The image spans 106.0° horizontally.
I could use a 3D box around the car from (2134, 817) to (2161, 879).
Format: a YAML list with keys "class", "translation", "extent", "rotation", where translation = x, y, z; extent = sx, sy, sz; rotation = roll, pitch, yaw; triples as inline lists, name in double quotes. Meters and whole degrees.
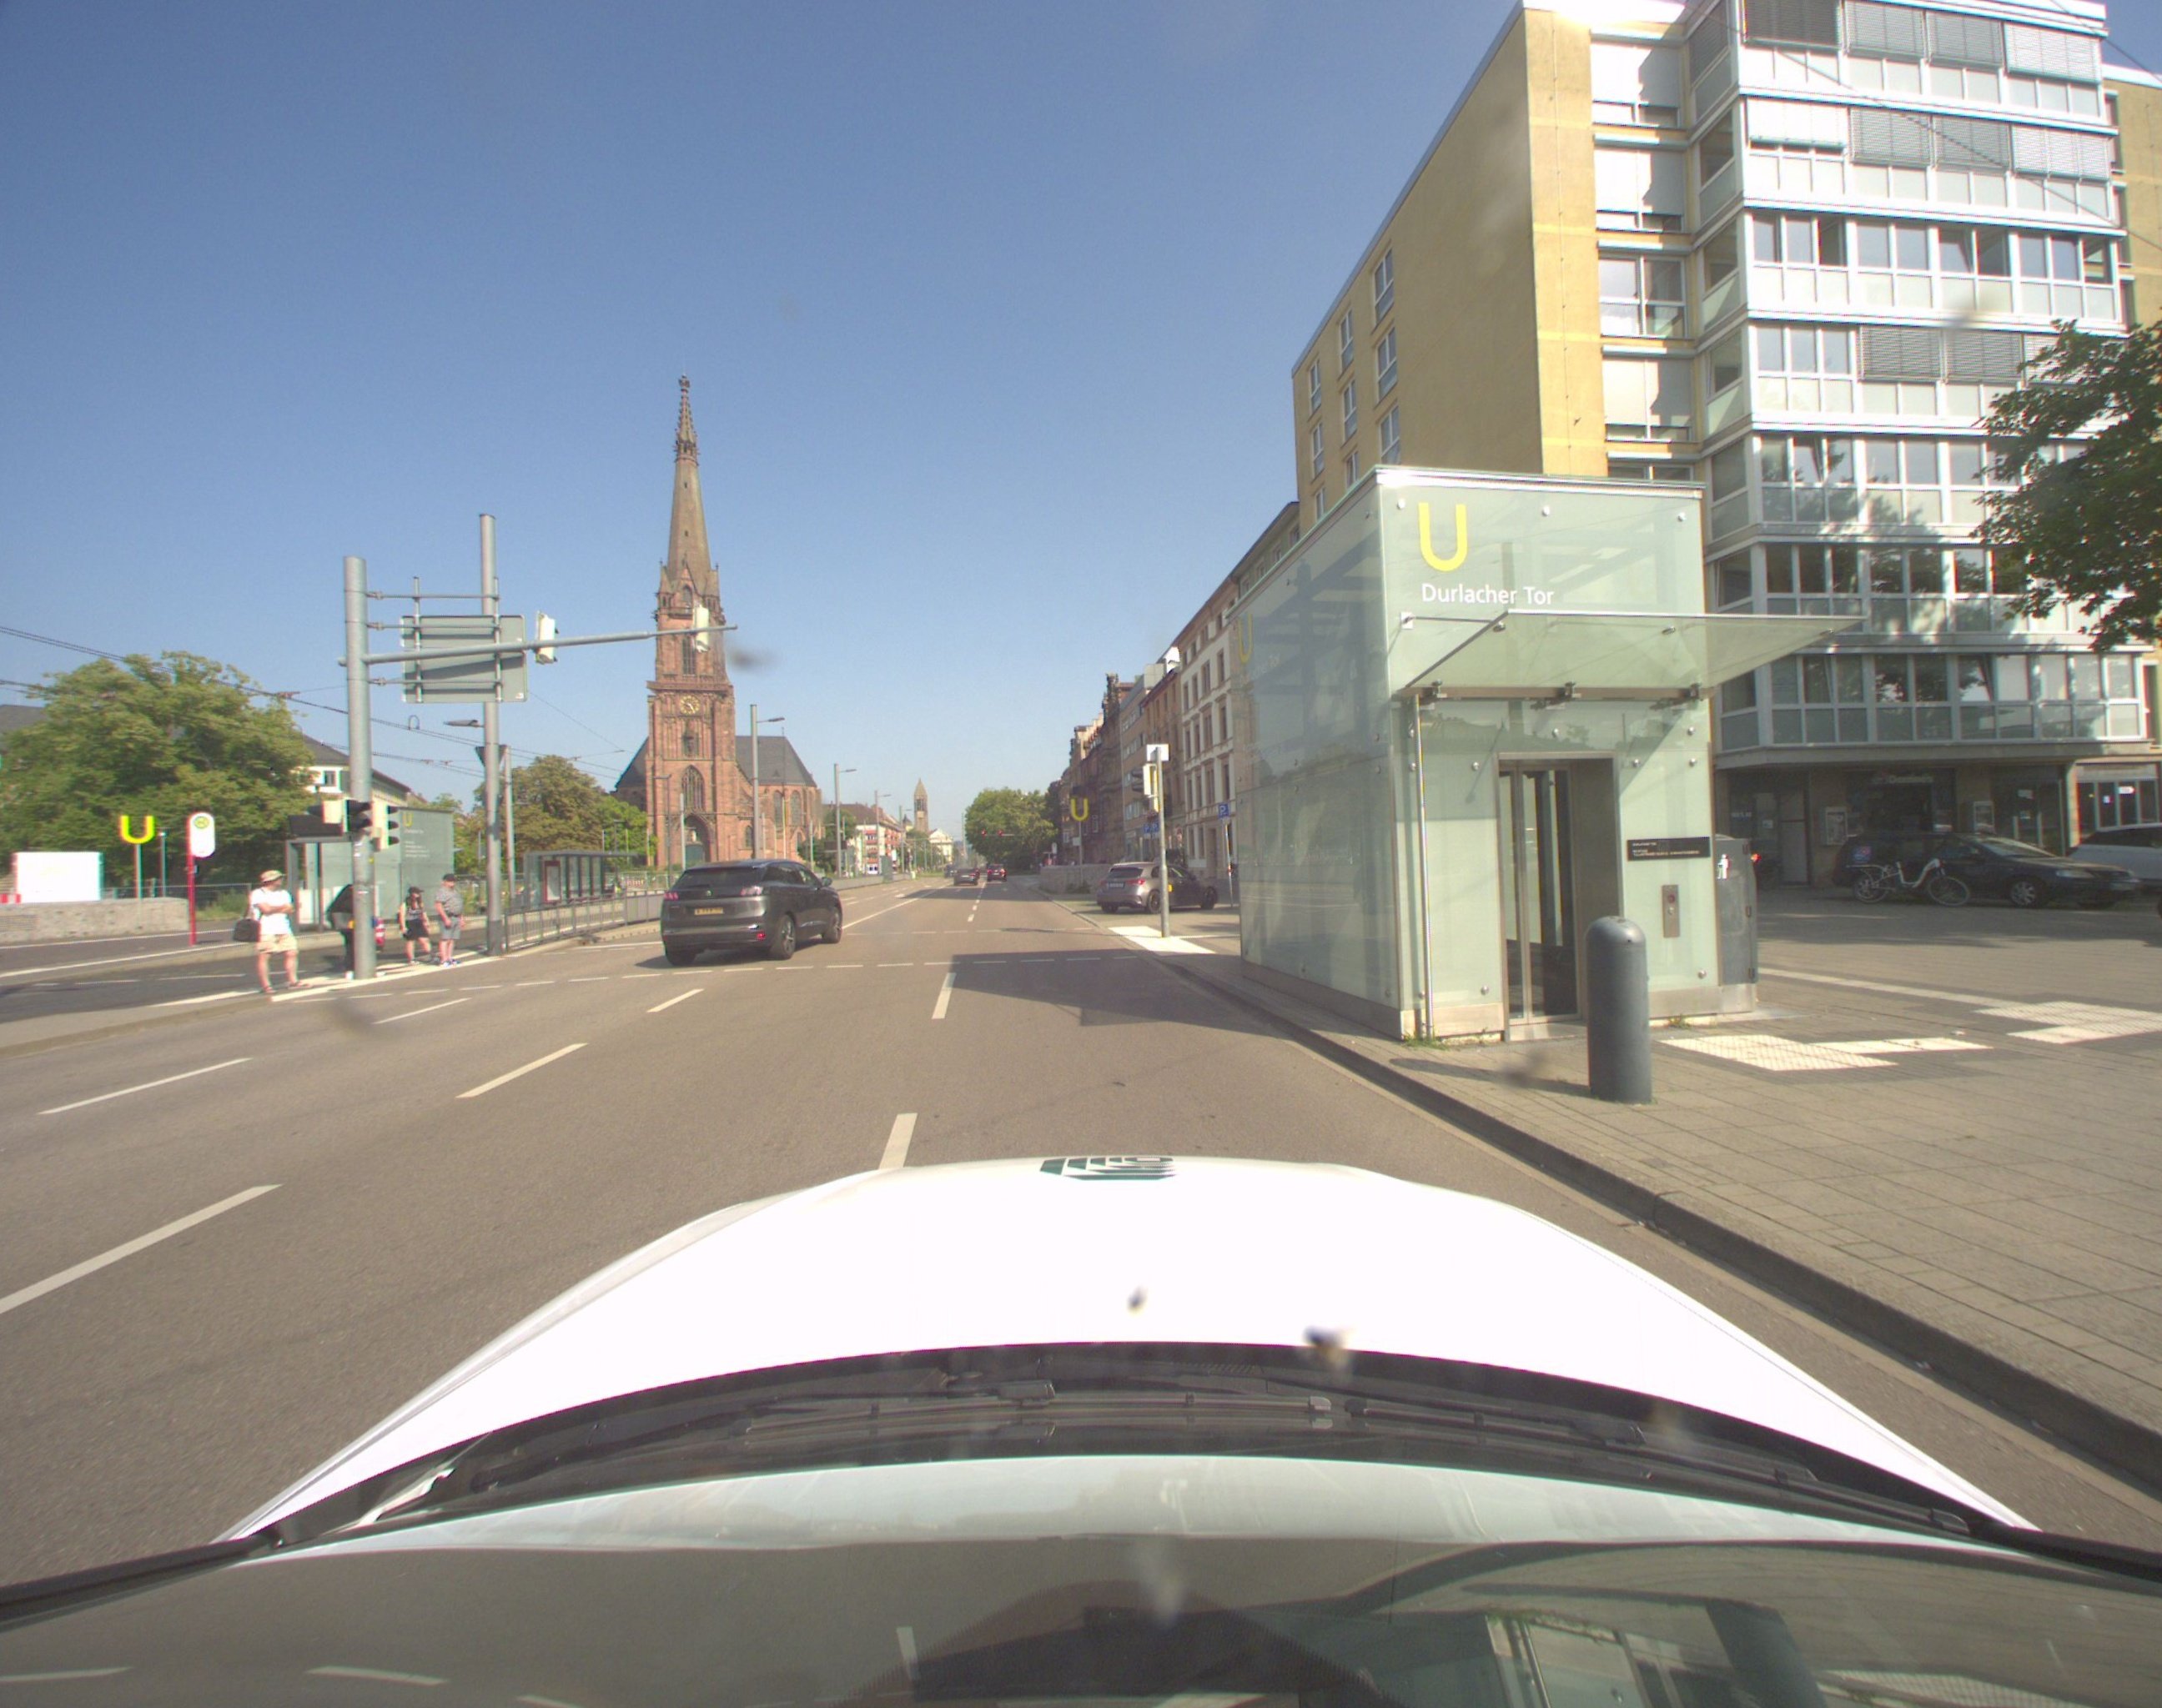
- class: "car"
  translation: [27.787, -0.201, 18.680]
  extent: [1.991, 1.507, 3.992]
  rotation: [-2, 0, -5]

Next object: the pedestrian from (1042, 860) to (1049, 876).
- class: "pedestrian"
  translation: [-3.868, 1.489, 88.727]
  extent: [0.565, 1.729, 0.743]
  rotation: [-2, -1, -10]

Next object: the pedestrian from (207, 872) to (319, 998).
- class: "pedestrian"
  translation: [-12.389, 1.200, 12.353]
  extent: [0.830, 1.788, 0.729]
  rotation: [-5, -1, 1]

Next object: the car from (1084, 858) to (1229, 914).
- class: "car"
  translation: [2.313, 0.905, 24.011]
  extent: [1.825, 1.423, 4.435]
  rotation: [-3, -1, 44]

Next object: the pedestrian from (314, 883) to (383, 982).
- class: "pedestrian"
  translation: [-12.405, 1.313, 13.802]
  extent: [0.632, 1.597, 0.466]
  rotation: [-5, -1, -9]

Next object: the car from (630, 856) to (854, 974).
- class: "car"
  translation: [-5.522, 0.893, 13.980]
  extent: [1.988, 1.621, 4.355]
  rotation: [-2, 0, -1]

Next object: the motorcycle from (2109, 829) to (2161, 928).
- class: "motorcycle"
  translation: [12.760, 0.273, 8.768]
  extent: [0.699, 1.147, 2.307]
  rotation: [-2, 0, 9]

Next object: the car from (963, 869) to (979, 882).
- class: "car"
  translation: [-13.281, 2.608, 98.490]
  extent: [1.862, 1.424, 4.347]
  rotation: [-1, 0, -6]

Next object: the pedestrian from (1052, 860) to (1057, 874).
- class: "pedestrian"
  translation: [-3.315, 1.612, 102.509]
  extent: [0.481, 1.702, 0.701]
  rotation: [-2, -1, -10]

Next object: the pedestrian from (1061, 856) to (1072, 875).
- class: "pedestrian"
  translation: [-1.388, 1.107, 79.359]
  extent: [0.925, 1.831, 0.798]
  rotation: [-2, -1, -10]

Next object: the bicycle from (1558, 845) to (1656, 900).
- class: "bicycle"
  translation: [12.822, 0.444, 19.884]
  extent: [2.015, 1.206, 0.669]
  rotation: [-3, 0, -7]

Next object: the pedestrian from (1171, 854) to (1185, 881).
- class: "pedestrian"
  translation: [5.880, 0.825, 49.274]
  extent: [0.608, 1.629, 0.735]
  rotation: [-2, -1, -6]

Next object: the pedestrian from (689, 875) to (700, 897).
- class: "pedestrian"
  translation: [-30.887, 2.572, 65.114]
  extent: [0.517, 1.700, 0.663]
  rotation: [-2, -1, -8]

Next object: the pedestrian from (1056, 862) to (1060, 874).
- class: "pedestrian"
  translation: [-2.412, 1.490, 85.718]
  extent: [0.275, 1.274, 0.446]
  rotation: [-2, -1, -13]

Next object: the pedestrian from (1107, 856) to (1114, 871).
- class: "pedestrian"
  translation: [3.221, 1.059, 90.359]
  extent: [0.603, 1.654, 0.585]
  rotation: [-2, -1, -10]

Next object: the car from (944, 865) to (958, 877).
- class: "car"
  translation: [-18.080, 2.387, 113.725]
  extent: [1.739, 1.526, 3.863]
  rotation: [-2, 0, -7]

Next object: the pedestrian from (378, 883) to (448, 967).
- class: "pedestrian"
  translation: [-13.185, 1.388, 16.095]
  extent: [0.807, 1.548, 0.547]
  rotation: [-5, -1, -6]

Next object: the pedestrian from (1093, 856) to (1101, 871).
- class: "pedestrian"
  translation: [1.656, 0.995, 85.001]
  extent: [0.719, 1.610, 0.854]
  rotation: [-2, -1, -6]

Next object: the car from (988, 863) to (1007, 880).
- class: "car"
  translation: [-8.304, 1.763, 81.173]
  extent: [1.829, 1.621, 4.347]
  rotation: [-1, -1, -6]

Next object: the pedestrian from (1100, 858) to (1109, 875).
- class: "pedestrian"
  translation: [2.459, 1.292, 85.093]
  extent: [0.719, 1.787, 0.854]
  rotation: [-2, -1, -6]

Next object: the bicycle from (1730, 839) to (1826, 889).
- class: "bicycle"
  translation: [17.887, 0.256, 20.915]
  extent: [2.015, 1.184, 0.669]
  rotation: [-3, 0, -7]

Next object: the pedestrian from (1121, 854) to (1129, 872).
- class: "pedestrian"
  translation: [4.344, 0.887, 80.841]
  extent: [0.603, 1.831, 0.740]
  rotation: [-2, -1, -10]

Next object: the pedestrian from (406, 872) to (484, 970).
- class: "pedestrian"
  translation: [-11.750, 1.213, 15.063]
  extent: [0.813, 1.692, 0.650]
  rotation: [-5, -1, -7]

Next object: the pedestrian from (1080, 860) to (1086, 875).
- class: "pedestrian"
  translation: [0.262, 1.647, 100.592]
  extent: [0.616, 1.804, 1.069]
  rotation: [-2, -1, -5]

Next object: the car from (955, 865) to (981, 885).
- class: "car"
  translation: [-8.869, 1.615, 64.055]
  extent: [1.862, 1.424, 4.347]
  rotation: [-1, 0, -6]

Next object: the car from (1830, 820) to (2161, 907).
- class: "car"
  translation: [17.776, 0.184, 16.195]
  extent: [1.654, 1.441, 4.186]
  rotation: [-2, 0, -5]

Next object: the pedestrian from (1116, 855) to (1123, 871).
- class: "pedestrian"
  translation: [4.103, 0.945, 86.975]
  extent: [0.603, 1.731, 0.509]
  rotation: [-2, -1, -10]

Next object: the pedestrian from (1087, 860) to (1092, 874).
- class: "pedestrian"
  translation: [1.072, 1.615, 100.649]
  extent: [0.485, 1.610, 0.811]
  rotation: [-2, -1, -6]

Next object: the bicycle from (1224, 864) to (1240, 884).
- class: "bicycle"
  translation: [8.577, 1.125, 46.438]
  extent: [0.383, 1.134, 1.716]
  rotation: [-2, -1, -6]

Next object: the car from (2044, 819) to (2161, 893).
- class: "car"
  translation: [22.954, 0.001, 16.513]
  extent: [1.991, 1.507, 3.992]
  rotation: [-2, 0, -5]

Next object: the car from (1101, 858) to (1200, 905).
- class: "car"
  translation: [2.478, 0.937, 28.540]
  extent: [1.602, 1.464, 3.550]
  rotation: [-3, -1, 42]

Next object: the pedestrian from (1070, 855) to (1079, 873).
- class: "pedestrian"
  translation: [-0.687, 1.019, 82.727]
  extent: [0.749, 1.729, 0.798]
  rotation: [-2, -1, -10]

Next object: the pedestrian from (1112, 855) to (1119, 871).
- class: "pedestrian"
  translation: [3.737, 1.017, 88.482]
  extent: [0.603, 1.692, 0.585]
  rotation: [-2, -1, -10]

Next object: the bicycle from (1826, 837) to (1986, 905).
- class: "bicycle"
  translation: [16.216, 0.327, 16.108]
  extent: [0.523, 1.235, 2.293]
  rotation: [-2, 0, -11]

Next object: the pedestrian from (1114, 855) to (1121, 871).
- class: "pedestrian"
  translation: [3.895, 1.006, 87.687]
  extent: [0.603, 1.692, 0.585]
  rotation: [-2, -1, -10]

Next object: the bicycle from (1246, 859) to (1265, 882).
- class: "bicycle"
  translation: [8.978, 0.843, 41.885]
  extent: [0.383, 1.134, 1.716]
  rotation: [-2, -1, -6]
